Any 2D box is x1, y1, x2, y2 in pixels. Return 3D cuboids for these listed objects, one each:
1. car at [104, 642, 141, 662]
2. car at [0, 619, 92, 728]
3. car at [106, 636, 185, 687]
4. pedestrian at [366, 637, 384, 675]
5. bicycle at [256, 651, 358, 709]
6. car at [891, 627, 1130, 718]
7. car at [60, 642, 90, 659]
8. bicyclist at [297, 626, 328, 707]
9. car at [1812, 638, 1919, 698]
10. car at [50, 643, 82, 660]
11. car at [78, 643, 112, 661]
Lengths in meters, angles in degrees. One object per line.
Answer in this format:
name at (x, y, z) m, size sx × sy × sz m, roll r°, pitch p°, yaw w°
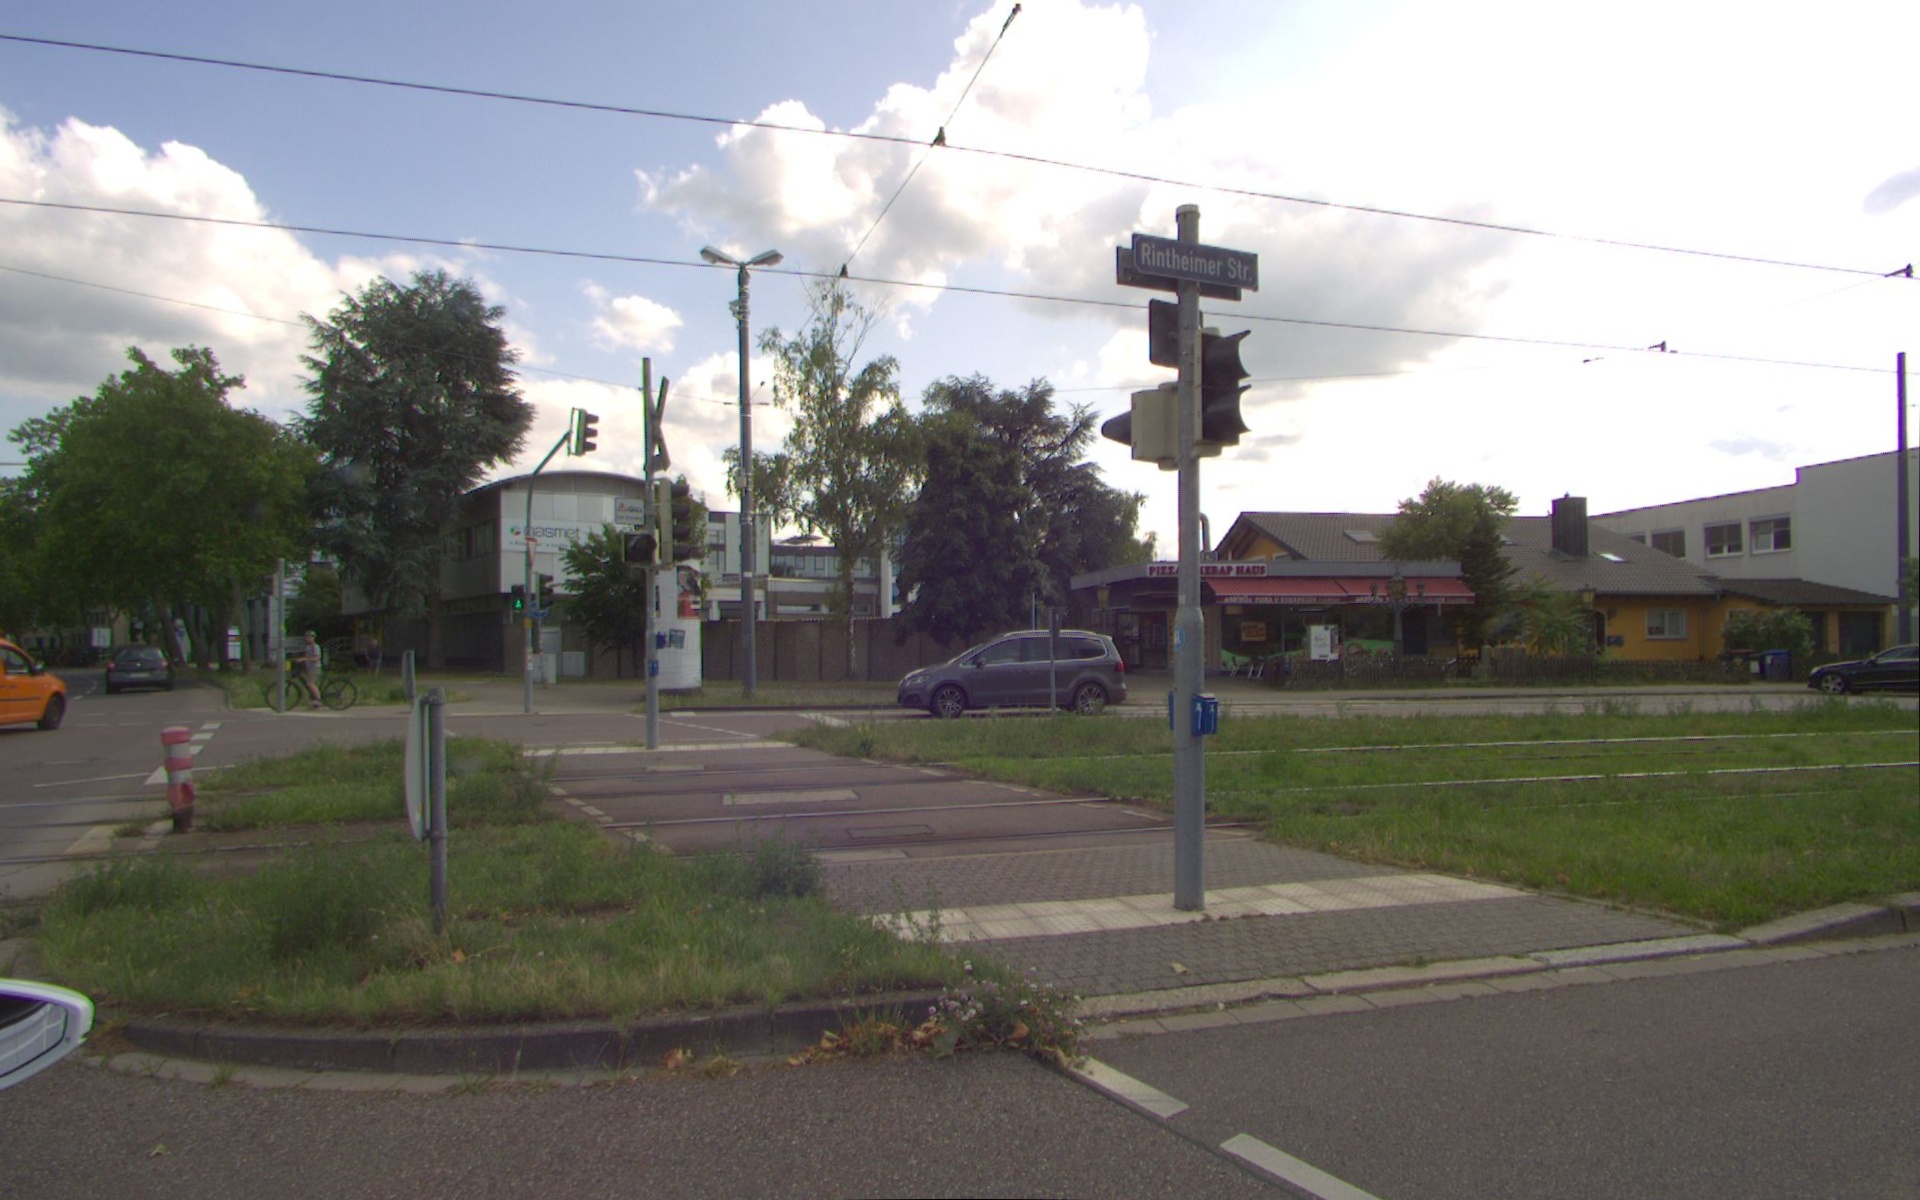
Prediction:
car at (-74.724, 4.640, 89.358) m, size 3.954 × 1.595 × 1.984 m, roll 0°, pitch 0°, yaw 42°
car at (-17.166, 1.249, 17.009) m, size 1.850 × 1.822 × 4.367 m, roll 0°, pitch -2°, yaw -14°
car at (-28.182, 2.114, 34.751) m, size 1.712 × 1.651 × 4.030 m, roll 0°, pitch -3°, yaw -33°
pedestrian at (-25.483, 2.429, 43.637) m, size 0.615 × 1.590 × 0.555 m, roll 0°, pitch 0°, yaw -37°
bicycle at (-15.029, 1.824, 23.099) m, size 1.923 × 1.252 × 0.538 m, roll 1°, pitch 0°, yaw -28°
car at (0.972, 1.458, 20.768) m, size 4.651 × 1.743 × 2.000 m, roll 0°, pitch -2°, yaw -9°
car at (-97.571, 5.551, 110.401) m, size 3.954 × 1.595 × 1.984 m, roll 0°, pitch 0°, yaw 42°
bicyclist at (-14.954, 1.522, 23.136) m, size 0.537 × 1.833 × 0.538 m, roll 1°, pitch 0°, yaw -28°
car at (26.757, 1.860, 27.610) m, size 1.971 × 1.599 × 4.560 m, roll 1°, pitch -3°, yaw -29°
car at (-90.779, 5.202, 101.681) m, size 3.954 × 1.595 × 1.984 m, roll 0°, pitch 0°, yaw 42°
car at (-83.844, 5.039, 97.012) m, size 3.954 × 1.595 × 1.984 m, roll 0°, pitch 0°, yaw 42°
